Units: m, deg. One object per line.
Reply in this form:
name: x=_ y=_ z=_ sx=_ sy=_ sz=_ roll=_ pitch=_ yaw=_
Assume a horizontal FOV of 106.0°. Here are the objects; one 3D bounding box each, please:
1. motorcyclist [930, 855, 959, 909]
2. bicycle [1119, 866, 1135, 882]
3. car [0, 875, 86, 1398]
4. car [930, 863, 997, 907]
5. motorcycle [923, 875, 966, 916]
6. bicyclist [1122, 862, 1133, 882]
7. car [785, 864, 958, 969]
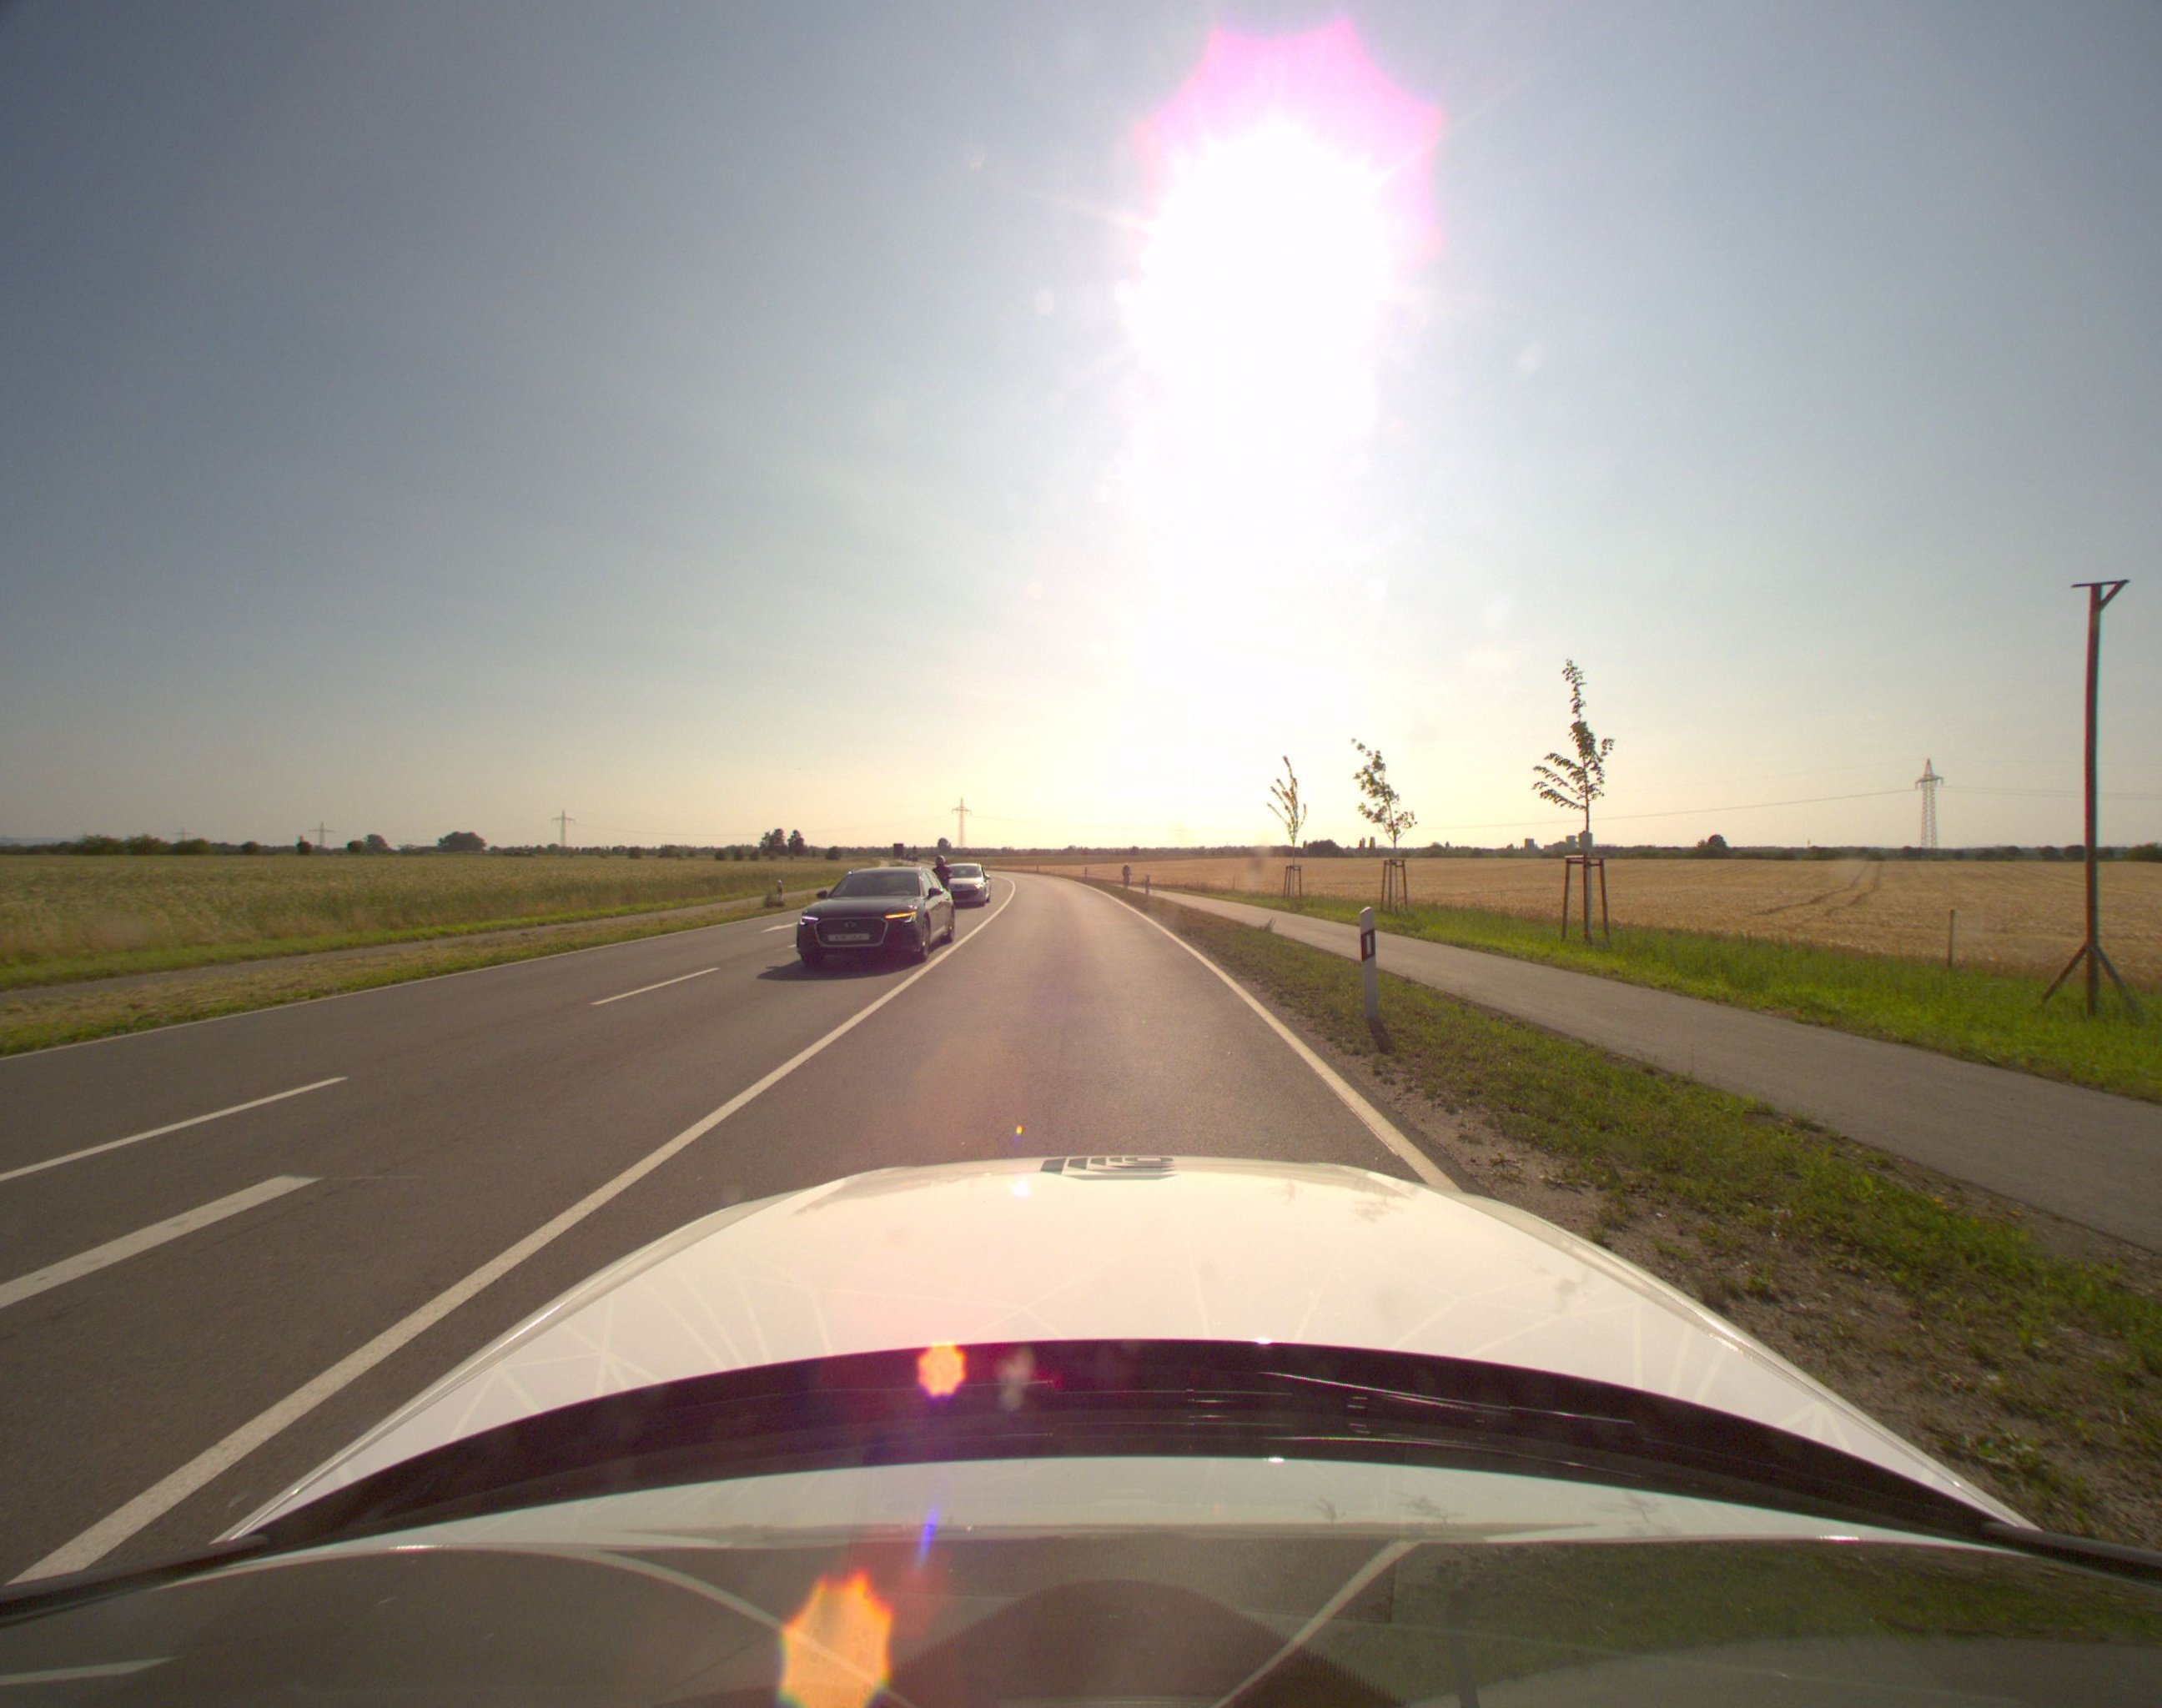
motorcyclist: x=-3.900 y=0.795 z=23.302 sx=0.675 sy=1.495 sz=0.847 roll=-1 pitch=-1 yaw=0
bicycle: x=3.441 y=1.475 z=61.166 sx=0.844 sy=1.142 sz=2.201 roll=2 pitch=-1 yaw=-7
car: x=-4.028 y=0.796 z=0.336 sx=1.883 sy=1.461 sz=4.306 roll=-1 pitch=-1 yaw=1
car: x=-4.081 y=1.033 z=28.936 sx=1.680 sy=1.403 sz=4.001 roll=-1 pitch=-1 yaw=1
motorcycle: x=-3.894 y=1.174 z=23.388 sx=0.868 sy=1.073 sz=1.968 roll=-1 pitch=0 yaw=0
bicyclist: x=3.476 y=1.340 z=61.201 sx=0.637 sy=1.457 sz=0.814 roll=2 pitch=-1 yaw=-8
car: x=-3.319 y=0.912 z=13.892 sx=1.885 sy=1.436 sz=4.792 roll=-1 pitch=-1 yaw=-3
